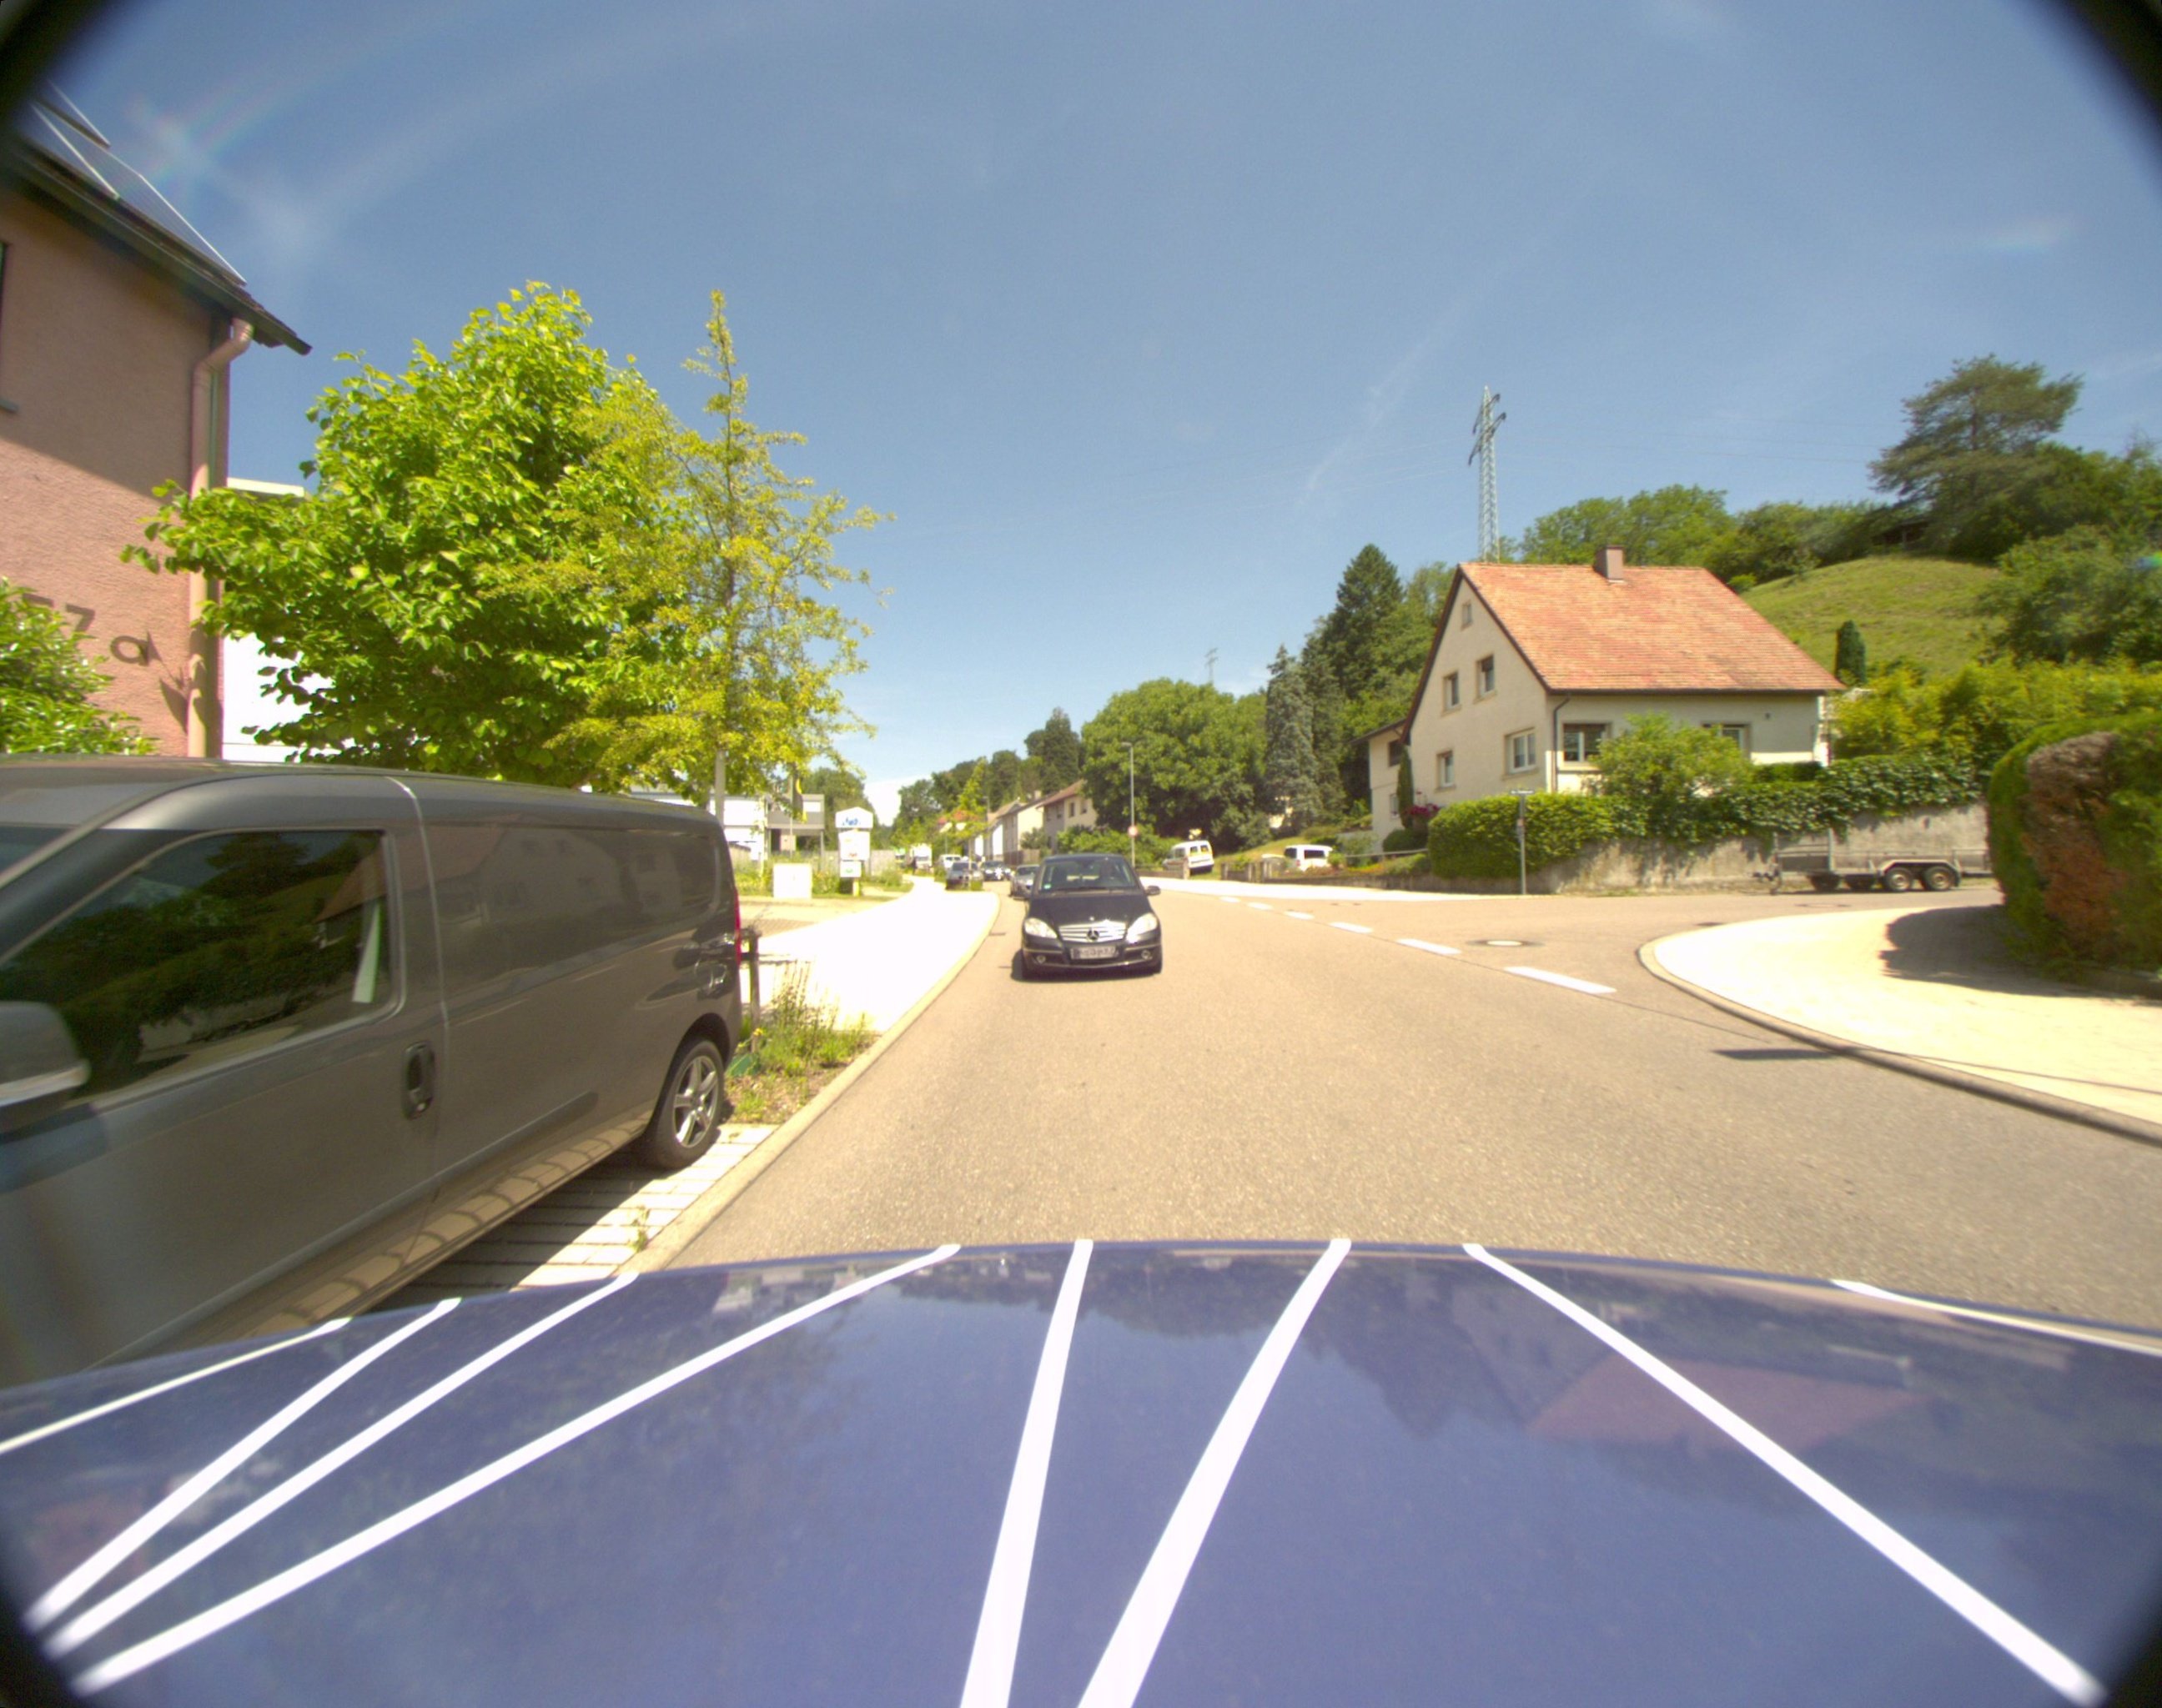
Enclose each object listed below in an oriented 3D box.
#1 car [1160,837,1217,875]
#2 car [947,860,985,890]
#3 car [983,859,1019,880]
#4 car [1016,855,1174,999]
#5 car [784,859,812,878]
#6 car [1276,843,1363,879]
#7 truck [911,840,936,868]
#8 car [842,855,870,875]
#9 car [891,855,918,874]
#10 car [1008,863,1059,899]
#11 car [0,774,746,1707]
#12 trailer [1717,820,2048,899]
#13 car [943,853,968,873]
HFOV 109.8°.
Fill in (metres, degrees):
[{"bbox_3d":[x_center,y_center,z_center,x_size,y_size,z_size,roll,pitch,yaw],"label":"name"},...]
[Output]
[{"bbox_3d":[6.027,0.133,43.014,1.705,1.937,3.995,-4,1,-15],"label":"car"},{"bbox_3d":[-5.591,0.979,37.271,1.676,1.368,3.998,0,0,-6],"label":"car"},{"bbox_3d":[-5.422,1.004,51.135,1.912,1.341,3.995,-1,0,-12],"label":"car"},{"bbox_3d":[0.006,0.848,10.863,1.791,1.595,4.073,-2,0,-5],"label":"car"},{"bbox_3d":[-21.648,1.116,58.143,1.747,1.357,3.835,-1,0,-17],"label":"car"},{"bbox_3d":[12.539,0.381,39.946,4.003,1.778,1.809,0,-4,-19],"label":"car"},{"bbox_3d":[-20.285,-0.033,97.621,2.809,3.394,8.109,-1,0,-14],"label":"truck"},{"bbox_3d":[-17.544,0.843,59.145,2.002,1.477,3.994,2,-1,-17],"label":"car"},{"bbox_3d":[-15.386,0.896,66.156,1.654,1.520,3.857,-1,0,-22],"label":"car"},{"bbox_3d":[-1.945,1.031,30.194,1.668,1.253,3.549,-1,0,-9],"label":"car"},{"bbox_3d":[-2.833,0.773,1.933,1.859,1.831,4.671,0,0,1],"label":"car"},{"bbox_3d":[18.181,0.138,17.502,5.072,1.496,2.001,-3,0,8],"label":"trailer"},{"bbox_3d":[-11.947,0.832,72.269,1.970,1.823,4.459,0,0,-14],"label":"car"}]
